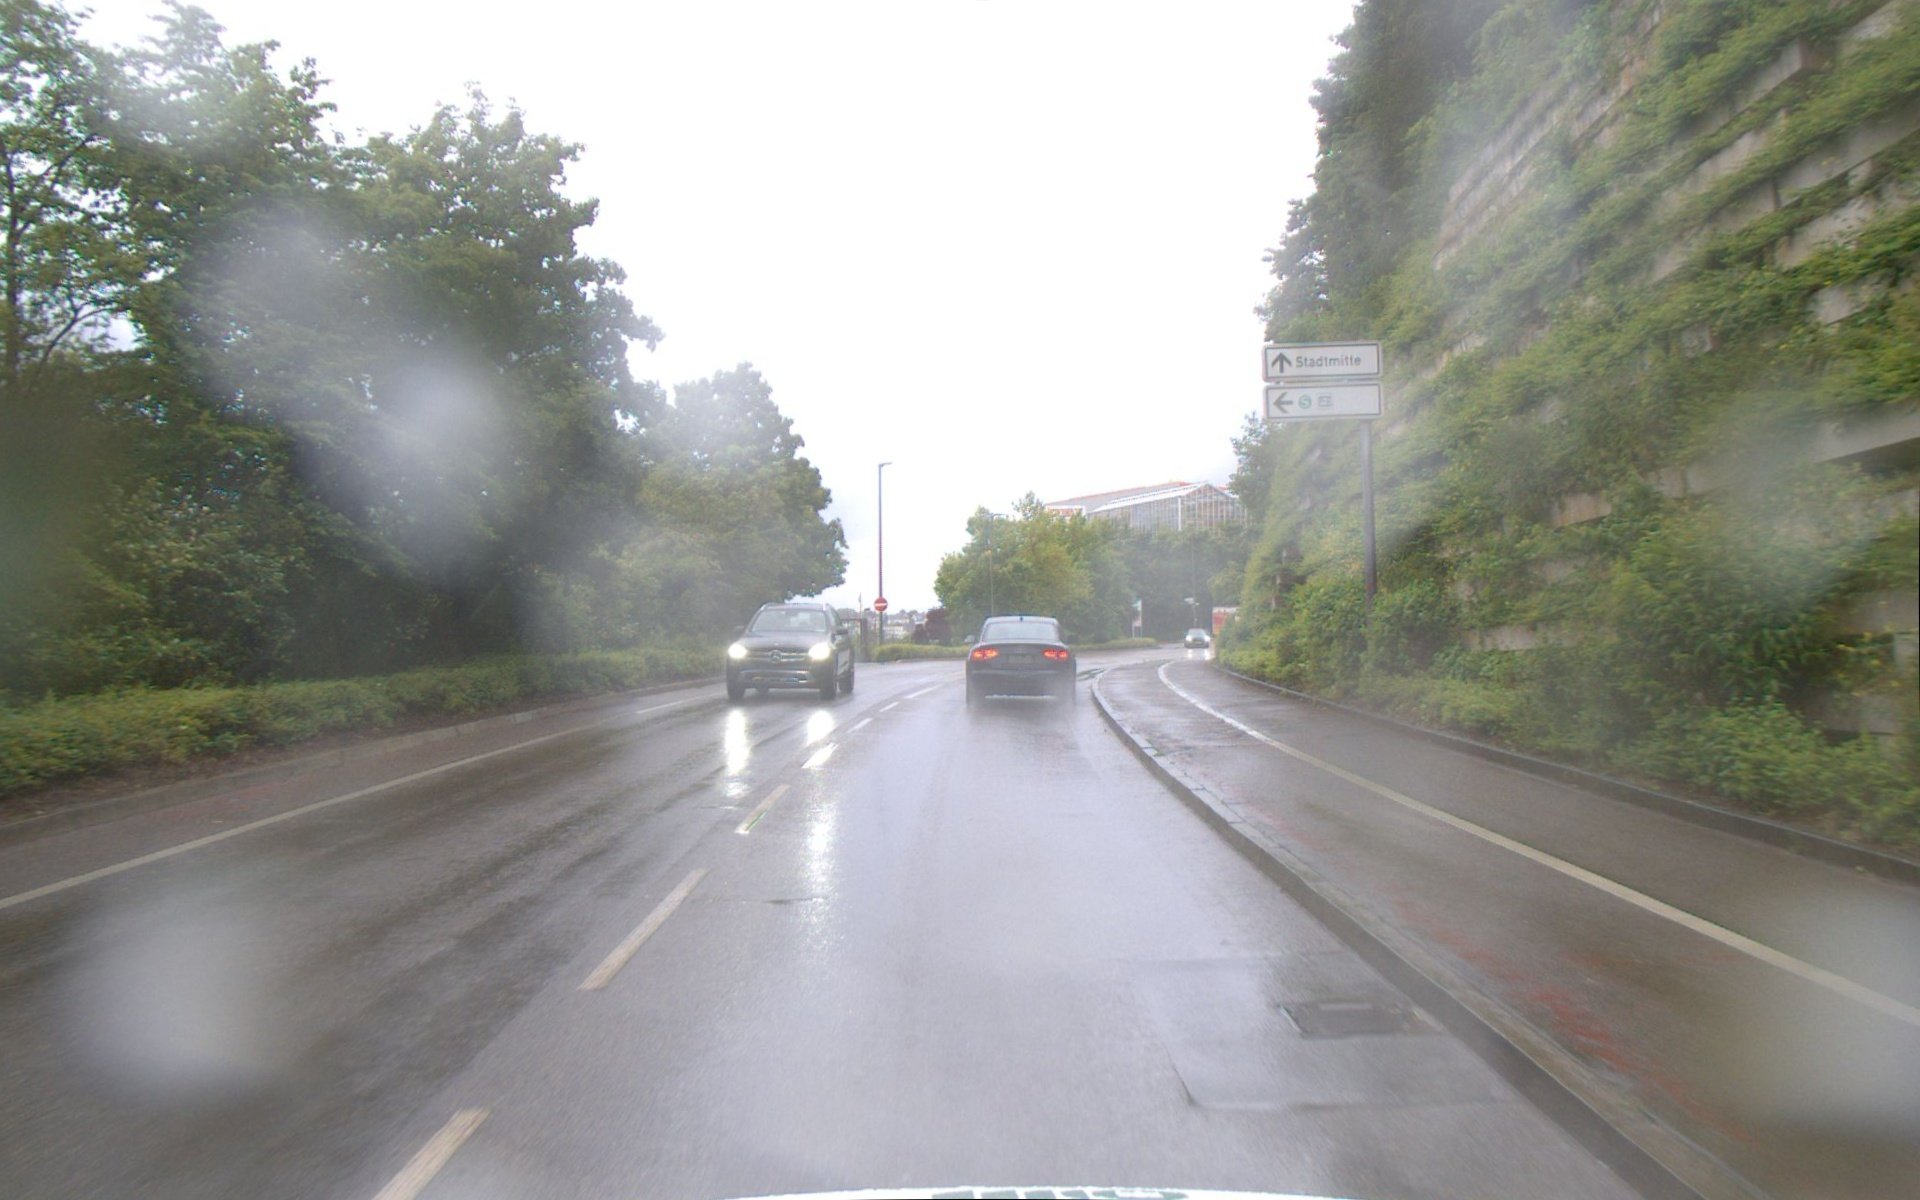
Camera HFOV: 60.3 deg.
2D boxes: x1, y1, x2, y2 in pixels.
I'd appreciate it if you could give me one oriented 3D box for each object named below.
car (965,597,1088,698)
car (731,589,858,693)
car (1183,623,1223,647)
[{"bbox_3d":[1.077,0.719,27.086,1.853,1.518,4.208,0,0,2],"label":"car"},{"bbox_3d":[-2.880,0.683,29.585,1.792,1.736,4.333,0,0,1],"label":"car"},{"bbox_3d":[19.346,2.764,131.547,1.955,1.771,3.995,-2,-1,27],"label":"car"}]
